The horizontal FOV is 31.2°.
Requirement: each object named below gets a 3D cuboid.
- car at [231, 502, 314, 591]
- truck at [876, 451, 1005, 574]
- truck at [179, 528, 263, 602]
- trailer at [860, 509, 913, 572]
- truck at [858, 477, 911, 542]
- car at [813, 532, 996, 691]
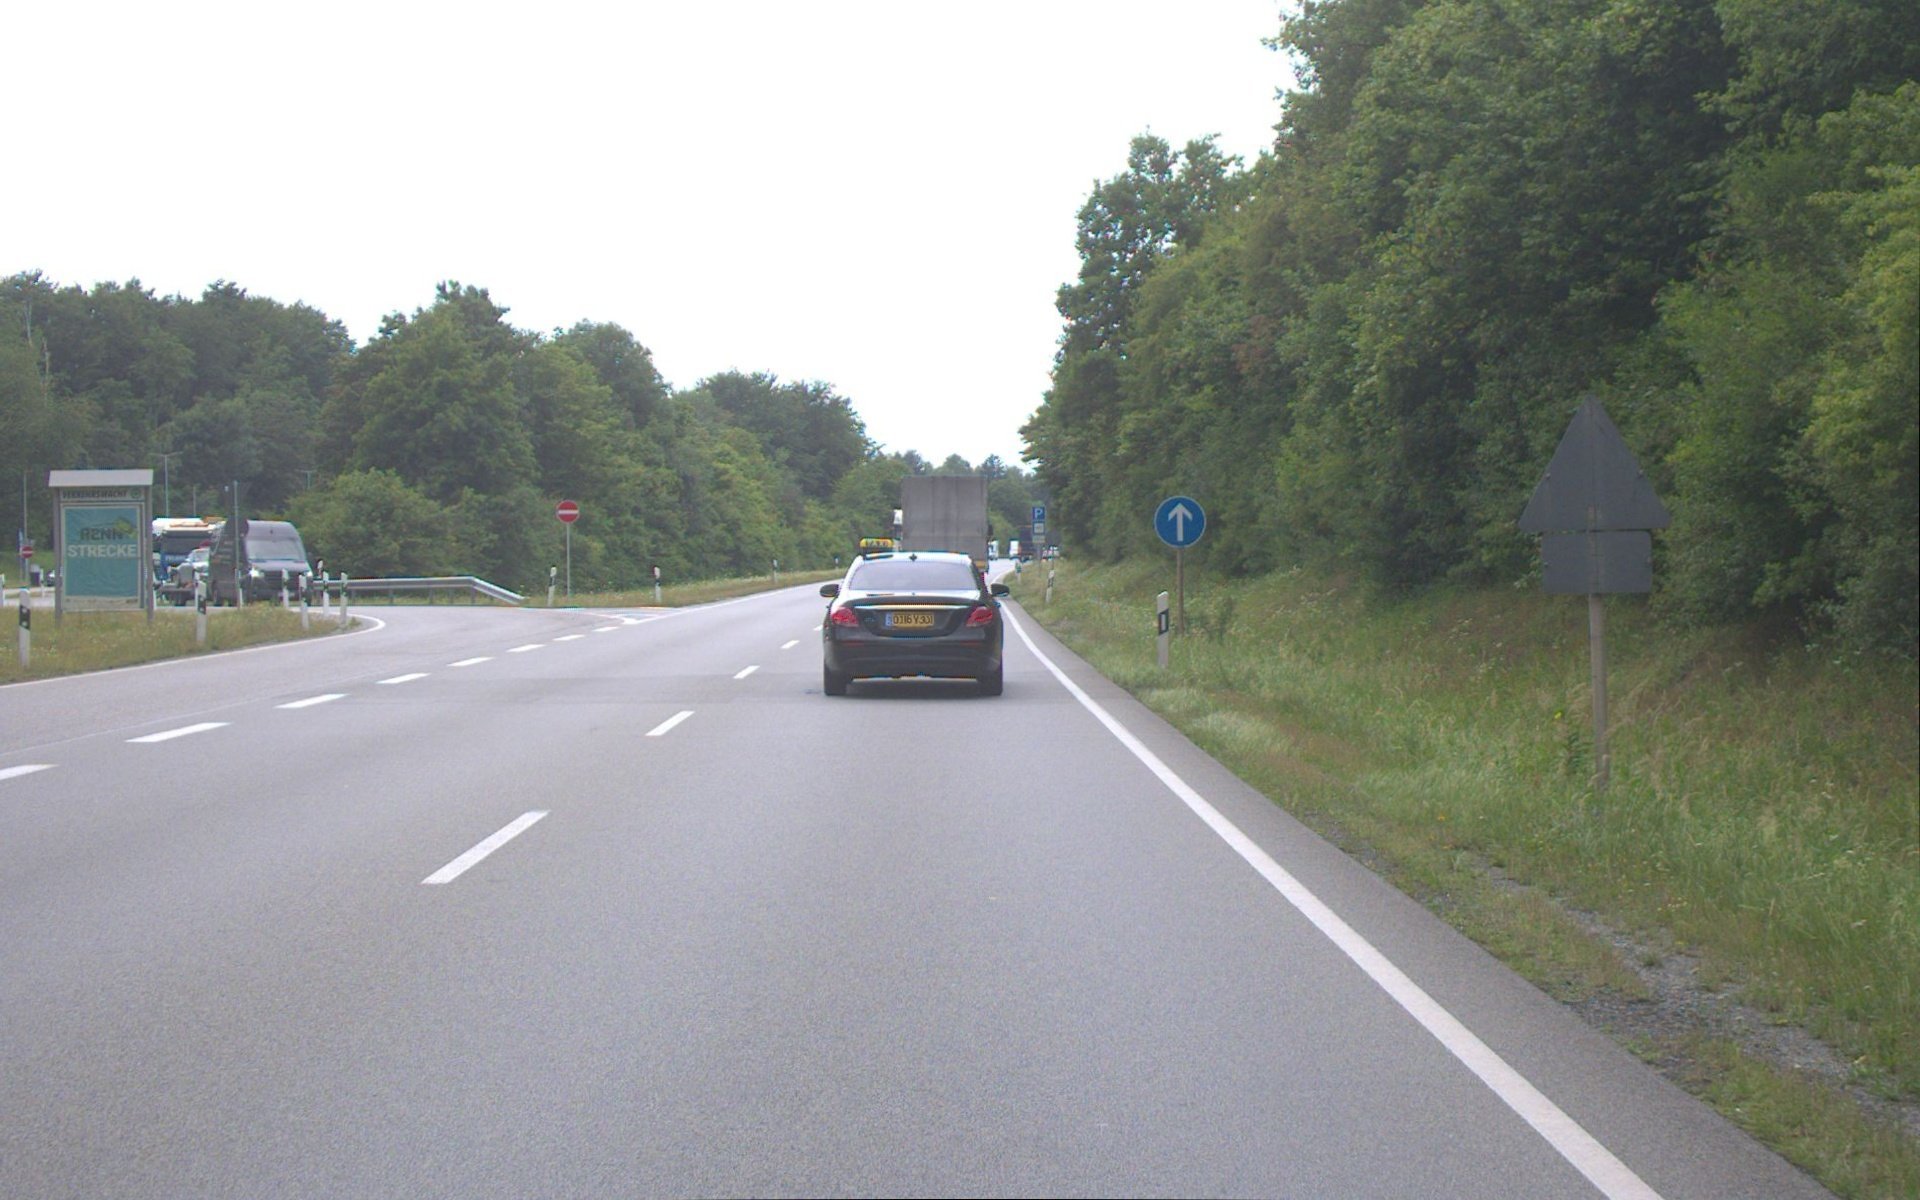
[{"bbox_3d":[-20.767,-1.611,103.737,2.255,2.521,7.166,-3,1,-12],"label":"car"},{"bbox_3d":[-0.492,-2.655,107.143,3.281,3.599,11.399,1,1,3],"label":"truck"},{"bbox_3d":[-31.140,-1.472,145.100,1.993,3.002,7.227,1,1,0],"label":"truck"},{"bbox_3d":[-4.872,-3.932,230.865,3.203,4.053,14.273,1,1,0],"label":"trailer"},{"bbox_3d":[-4.904,-5.856,224.536,3.189,4.048,9.576,1,1,0],"label":"truck"},{"bbox_3d":[-0.577,0.091,35.929,1.791,1.547,4.000,1,1,-1],"label":"car"}]
